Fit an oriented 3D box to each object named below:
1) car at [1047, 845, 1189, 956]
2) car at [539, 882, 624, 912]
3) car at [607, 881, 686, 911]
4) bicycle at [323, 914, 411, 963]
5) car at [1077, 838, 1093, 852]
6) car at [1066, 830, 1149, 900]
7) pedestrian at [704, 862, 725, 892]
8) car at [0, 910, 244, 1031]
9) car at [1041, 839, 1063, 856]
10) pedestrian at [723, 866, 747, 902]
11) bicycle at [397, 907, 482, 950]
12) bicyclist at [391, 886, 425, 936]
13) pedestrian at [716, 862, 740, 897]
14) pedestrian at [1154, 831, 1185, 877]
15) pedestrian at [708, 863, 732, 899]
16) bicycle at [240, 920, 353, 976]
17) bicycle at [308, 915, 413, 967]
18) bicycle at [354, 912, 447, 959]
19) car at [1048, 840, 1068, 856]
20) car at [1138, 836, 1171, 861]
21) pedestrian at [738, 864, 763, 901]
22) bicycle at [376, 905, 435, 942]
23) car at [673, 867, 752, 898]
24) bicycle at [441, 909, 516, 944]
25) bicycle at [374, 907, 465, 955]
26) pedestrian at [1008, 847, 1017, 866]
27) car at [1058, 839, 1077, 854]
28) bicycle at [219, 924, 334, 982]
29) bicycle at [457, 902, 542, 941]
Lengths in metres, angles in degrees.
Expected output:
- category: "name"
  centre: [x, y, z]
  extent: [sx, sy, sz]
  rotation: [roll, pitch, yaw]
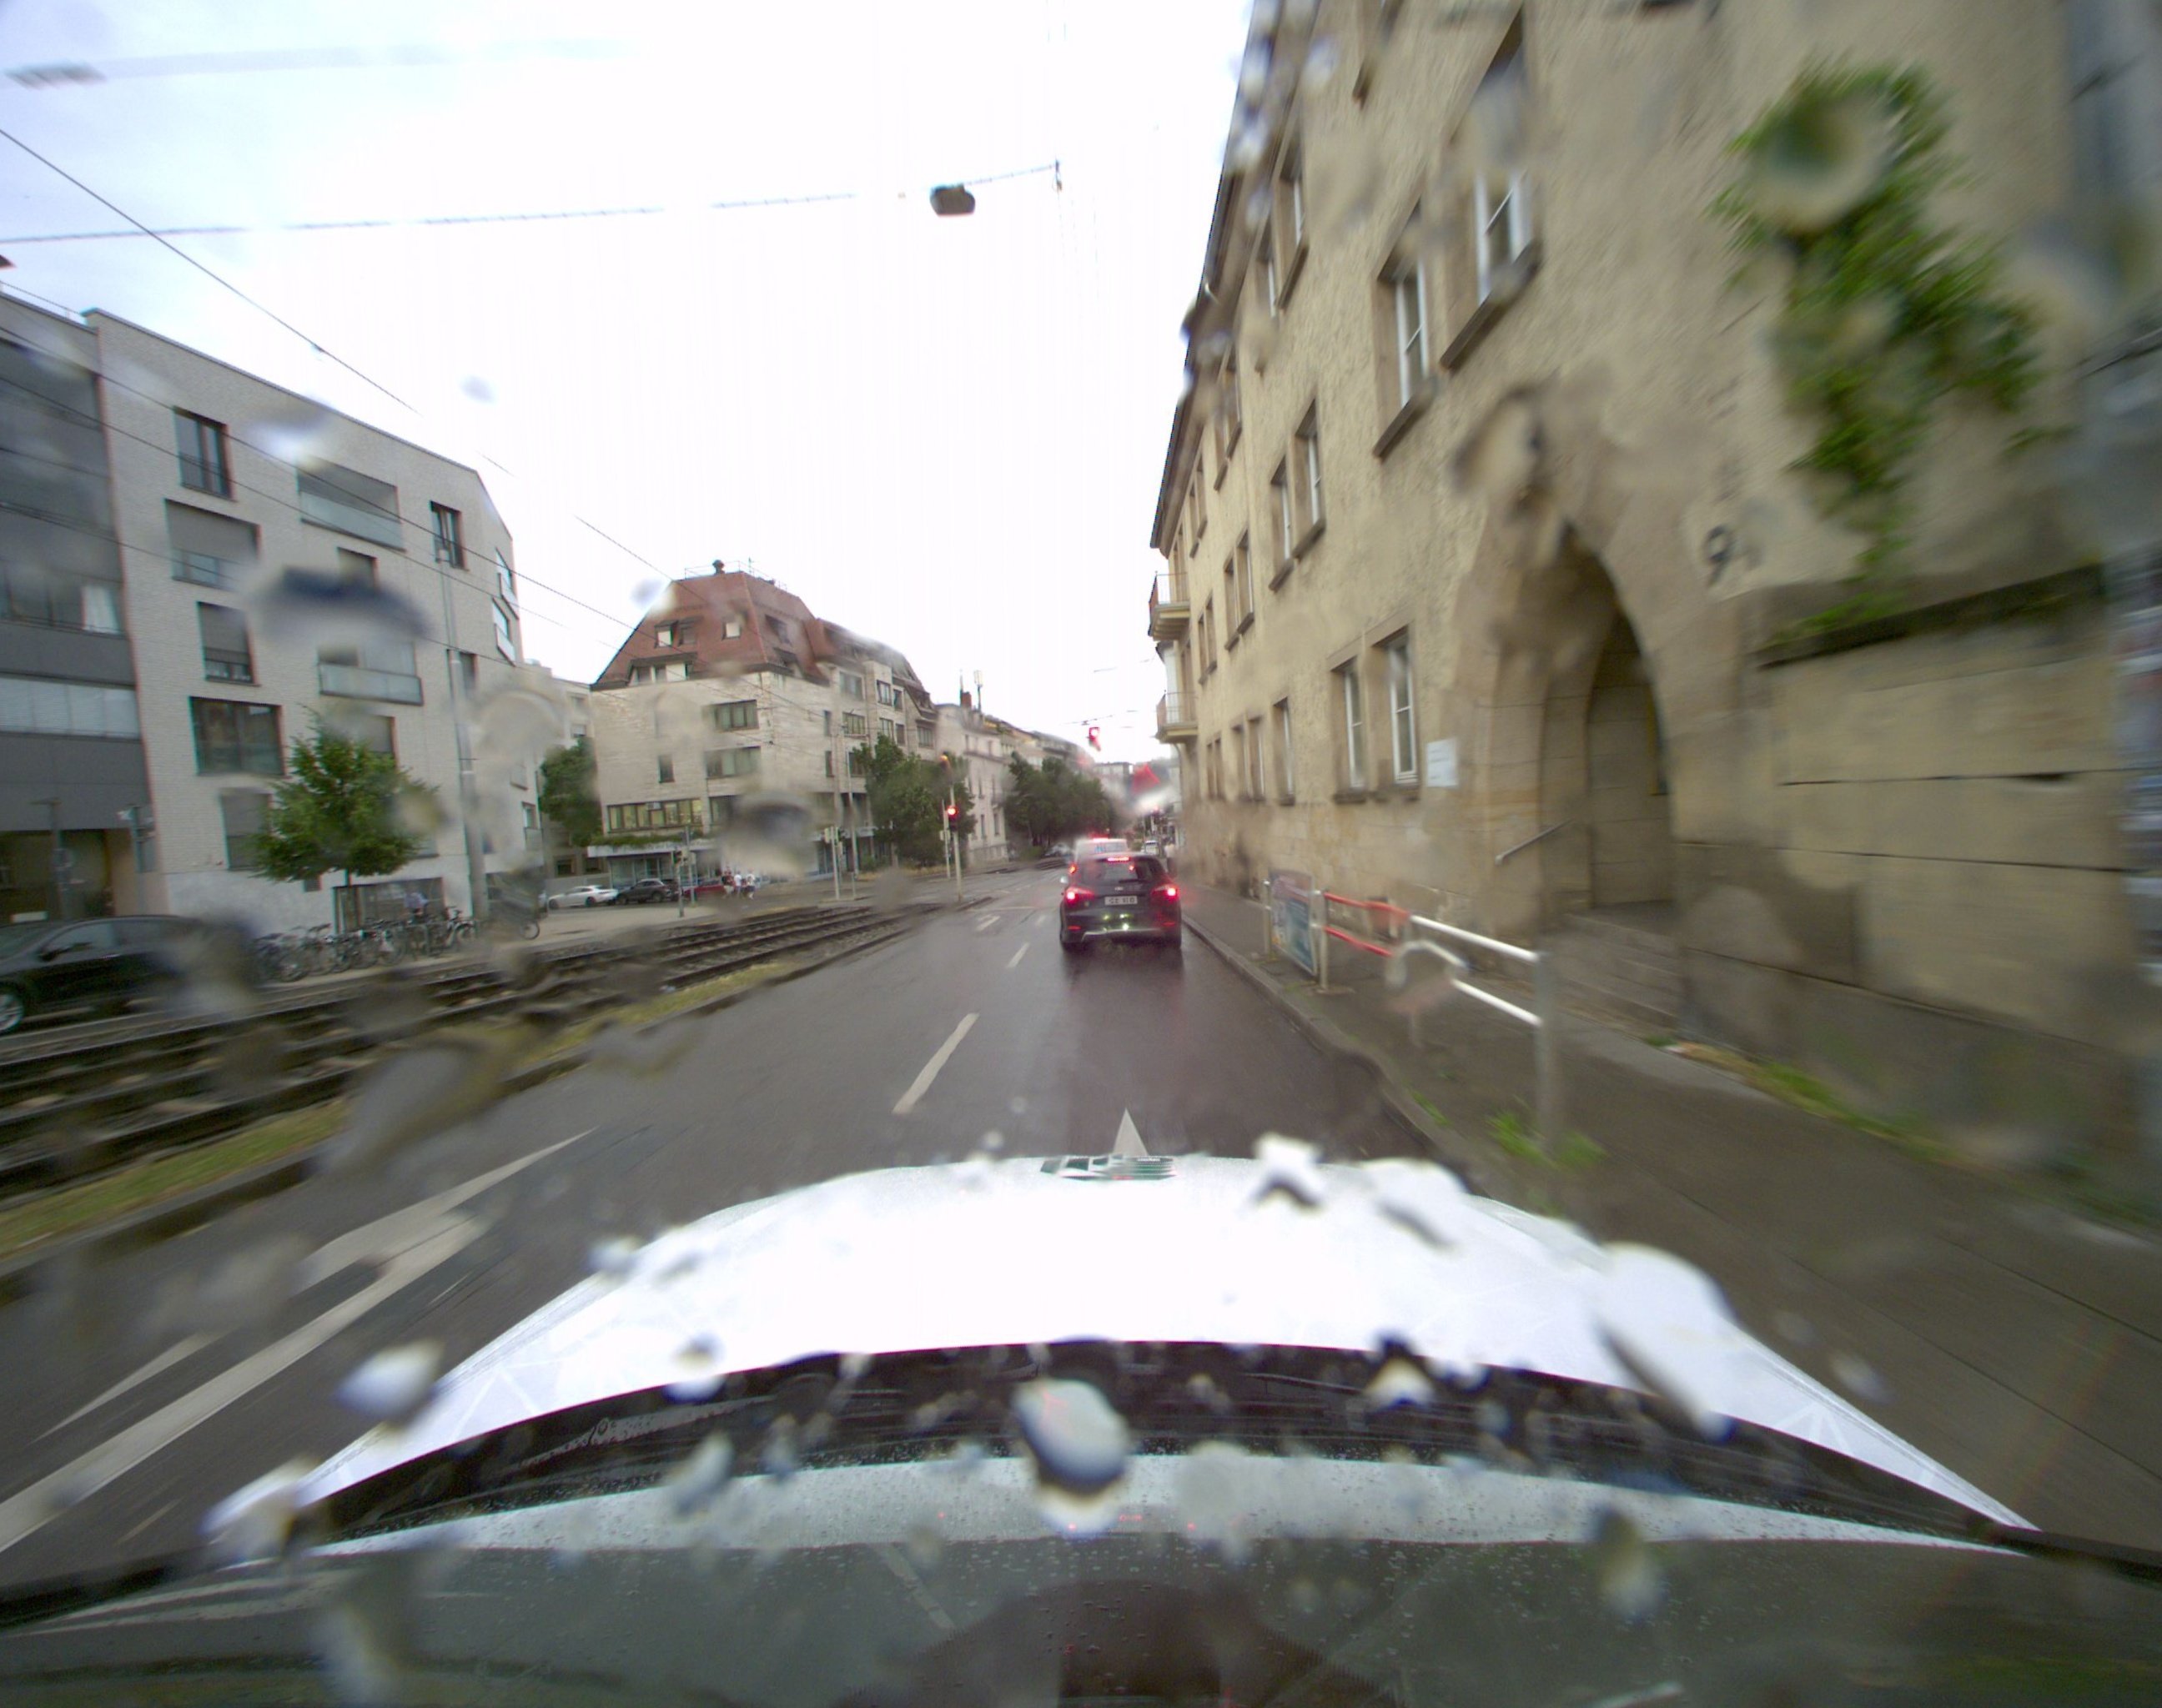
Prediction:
- category: "car"
  centre: [0.678, 0.619, 13.207]
  extent: [1.911, 1.479, 4.006]
  rotation: [-2, 1, 5]
- category: "car"
  centre: [-32.470, 2.807, 52.984]
  extent: [4.431, 1.568, 1.914]
  rotation: [-4, 0, 10]
- category: "car"
  centre: [-27.851, 2.692, 52.234]
  extent: [4.107, 1.568, 1.829]
  rotation: [-4, 0, 10]
- category: "bicycle"
  centre: [-17.560, 2.074, 20.047]
  extent: [1.761, 1.071, 0.486]
  rotation: [-3, 0, 4]
- category: "car"
  centre: [0.661, -1.379, 125.427]
  extent: [1.983, 2.013, 4.007]
  rotation: [-4, 0, 6]
- category: "car"
  centre: [0.778, 0.282, 24.245]
  extent: [2.129, 1.745, 4.220]
  rotation: [-5, 0, 1]
- category: "pedestrian"
  centre: [-25.401, 1.594, 56.512]
  extent: [0.902, 1.931, 0.825]
  rotation: [-5, 2, -1]
- category: "car"
  centre: [-16.343, 1.870, 12.803]
  extent: [1.907, 1.503, 4.234]
  rotation: [-7, 0, -2]
- category: "car"
  centre: [-3.621, -0.805, 101.514]
  extent: [1.983, 2.013, 4.007]
  rotation: [-4, 0, 6]
- category: "pedestrian"
  centre: [-19.790, 1.705, 46.645]
  extent: [0.939, 2.013, 0.764]
  rotation: [-4, 0, -2]
- category: "bicycle"
  centre: [-18.191, 2.106, 23.128]
  extent: [1.797, 1.064, 0.567]
  rotation: [-3, 0, -11]
- category: "bicyclist"
  centre: [-22.212, 1.858, 26.887]
  extent: [0.460, 1.574, 0.701]
  rotation: [-3, 0, -3]
- category: "pedestrian"
  centre: [-20.919, 1.496, 48.289]
  extent: [0.939, 2.013, 0.764]
  rotation: [-4, 0, -2]
- category: "pedestrian"
  centre: [3.609, -0.004, 33.187]
  extent: [1.042, 1.795, 0.902]
  rotation: [-4, 0, -1]
- category: "pedestrian"
  centre: [-20.790, 1.538, 46.883]
  extent: [0.939, 2.013, 0.764]
  rotation: [-4, 0, -2]
- category: "bicycle"
  centre: [-17.322, 2.059, 18.006]
  extent: [1.796, 1.064, 0.456]
  rotation: [-3, 0, -10]
- category: "bicycle"
  centre: [-16.870, 2.027, 19.095]
  extent: [1.799, 1.064, 0.455]
  rotation: [-3, 0, -13]
- category: "bicycle"
  centre: [-17.575, 2.094, 21.062]
  extent: [1.799, 1.064, 0.455]
  rotation: [-3, 0, -13]
- category: "car"
  centre: [-3.001, -0.792, 107.800]
  extent: [1.983, 2.013, 4.007]
  rotation: [-4, 0, 6]
- category: "car"
  centre: [5.780, -0.470, 63.533]
  extent: [1.980, 1.772, 4.014]
  rotation: [-4, 0, 12]
- category: "pedestrian"
  centre: [-18.849, 1.635, 46.482]
  extent: [0.938, 2.013, 0.765]
  rotation: [-4, 0, 1]
- category: "bicycle"
  centre: [-22.191, 2.265, 26.802]
  extent: [0.455, 1.064, 1.801]
  rotation: [-3, 0, -3]
- category: "car"
  centre: [-23.149, 1.776, 51.182]
  extent: [4.107, 1.568, 1.829]
  rotation: [-4, 0, 10]
- category: "bicycle"
  centre: [-17.710, 2.119, 23.970]
  extent: [1.649, 0.866, 0.567]
  rotation: [-3, 0, -9]
- category: "bicycle"
  centre: [-17.789, 2.062, 21.929]
  extent: [1.802, 1.108, 0.453]
  rotation: [-3, 0, -19]
- category: "pedestrian"
  centre: [-7.837, 0.290, 93.257]
  extent: [0.941, 2.013, 0.763]
  rotation: [-4, 0, -8]
- category: "car"
  centre: [-1.876, -1.039, 114.114]
  extent: [1.983, 2.013, 4.007]
  rotation: [-4, 0, 6]
- category: "bicycle"
  centre: [-16.971, 2.079, 17.203]
  extent: [1.794, 1.064, 0.456]
  rotation: [-3, 0, -6]
- category: "bicycle"
  centre: [-17.845, 2.060, 25.030]
  extent: [1.948, 1.028, 0.719]
  rotation: [-3, 0, -8]
